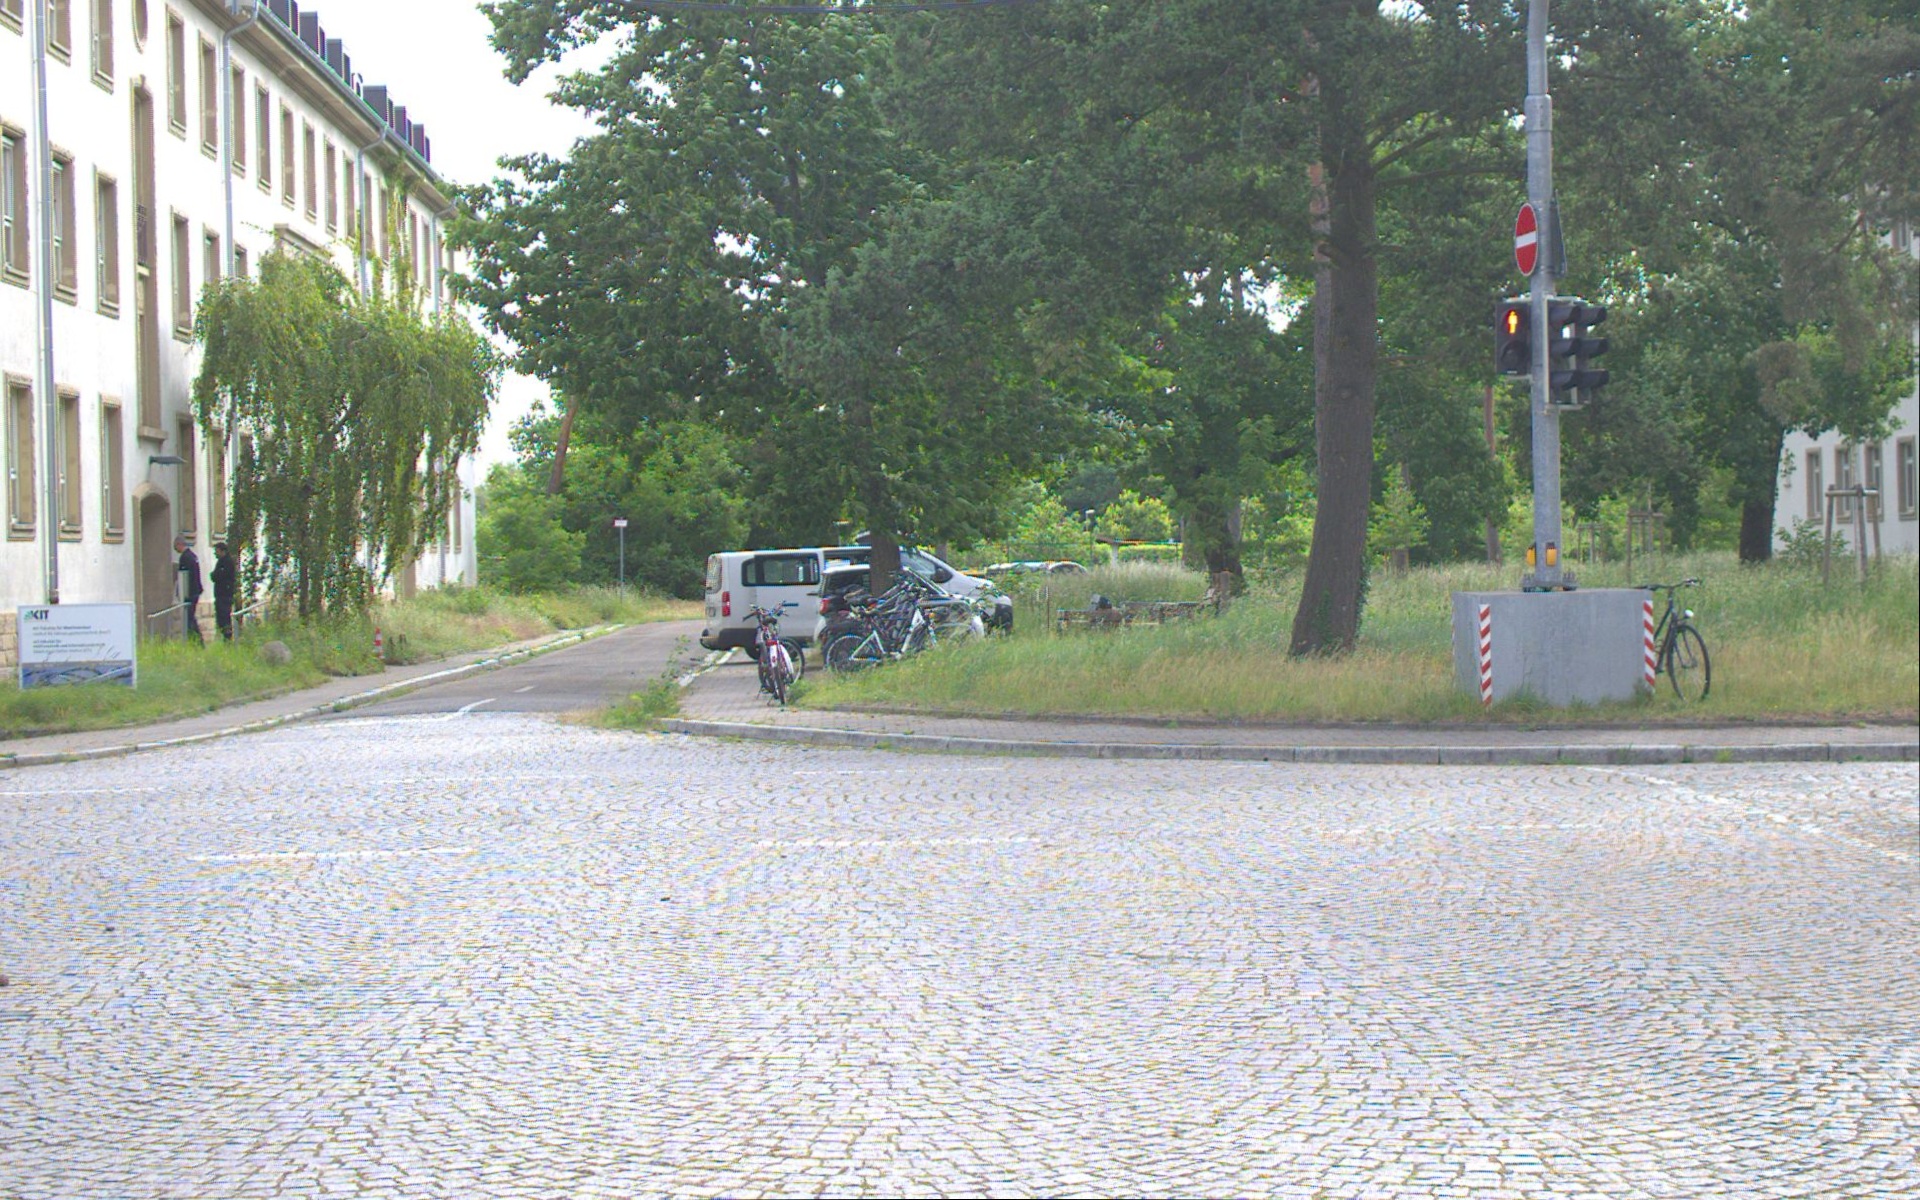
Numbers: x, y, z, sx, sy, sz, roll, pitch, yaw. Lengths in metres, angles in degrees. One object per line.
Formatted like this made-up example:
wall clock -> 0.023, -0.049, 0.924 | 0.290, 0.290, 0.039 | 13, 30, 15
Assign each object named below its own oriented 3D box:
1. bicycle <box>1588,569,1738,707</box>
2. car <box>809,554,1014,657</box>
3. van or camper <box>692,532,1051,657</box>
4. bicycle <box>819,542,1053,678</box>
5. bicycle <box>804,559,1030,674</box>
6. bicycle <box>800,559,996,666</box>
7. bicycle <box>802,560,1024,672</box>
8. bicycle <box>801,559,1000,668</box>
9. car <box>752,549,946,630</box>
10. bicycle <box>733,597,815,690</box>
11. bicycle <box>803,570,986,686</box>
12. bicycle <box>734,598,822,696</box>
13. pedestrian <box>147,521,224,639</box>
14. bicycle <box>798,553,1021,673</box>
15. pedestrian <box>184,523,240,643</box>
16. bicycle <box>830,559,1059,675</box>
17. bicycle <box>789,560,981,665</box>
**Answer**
bicycle -> 5.845, 0.297, 28.677 | 0.644, 1.059, 1.834 | -5, 1, -5
car -> -0.810, 0.086, 55.203 | 3.224, 1.615, 1.938 | 0, 0, -3
van or camper -> -1.526, -0.105, 58.697 | 5.740, 1.950, 2.238 | -1, 1, -14
bicycle -> -0.305, 0.112, 42.086 | 2.802, 1.578, 0.951 | -1, 0, -2
bicycle -> -0.556, 0.201, 43.545 | 2.802, 1.367, 0.951 | -1, 1, -2
bicycle -> -0.848, 0.162, 46.235 | 2.567, 1.367, 0.951 | -1, 1, -3
bicycle -> -0.619, 0.198, 44.438 | 2.802, 1.367, 0.951 | -1, 1, -2
bicycle -> -0.803, 0.166, 45.396 | 2.567, 1.367, 0.951 | -1, 1, -3
car -> -2.368, -0.220, 72.505 | 3.986, 1.594, 1.704 | -1, 1, -4
bicycle -> -2.116, 0.483, 39.268 | 0.727, 0.993, 1.978 | -1, 1, 3
bicycle -> -0.782, 0.323, 40.592 | 2.113, 1.302, 0.874 | -1, 0, -2
bicycle -> -1.962, 0.490, 37.179 | 0.900, 0.993, 1.979 | -1, 1, -3
pedestrian -> -12.487, -0.322, 55.499 | 1.194, 1.863, 1.550 | 0, 0, -12
bicycle -> -0.618, 0.145, 41.207 | 2.619, 1.362, 0.874 | -1, 0, -2
pedestrian -> -12.210, -0.279, 56.121 | 0.865, 1.925, 0.837 | 1, 0, -13
bicycle -> -0.209, 0.203, 43.021 | 2.802, 1.367, 0.951 | -1, 1, -2
bicycle -> -1.043, 0.159, 47.068 | 2.567, 1.367, 0.951 | -1, 1, -3
